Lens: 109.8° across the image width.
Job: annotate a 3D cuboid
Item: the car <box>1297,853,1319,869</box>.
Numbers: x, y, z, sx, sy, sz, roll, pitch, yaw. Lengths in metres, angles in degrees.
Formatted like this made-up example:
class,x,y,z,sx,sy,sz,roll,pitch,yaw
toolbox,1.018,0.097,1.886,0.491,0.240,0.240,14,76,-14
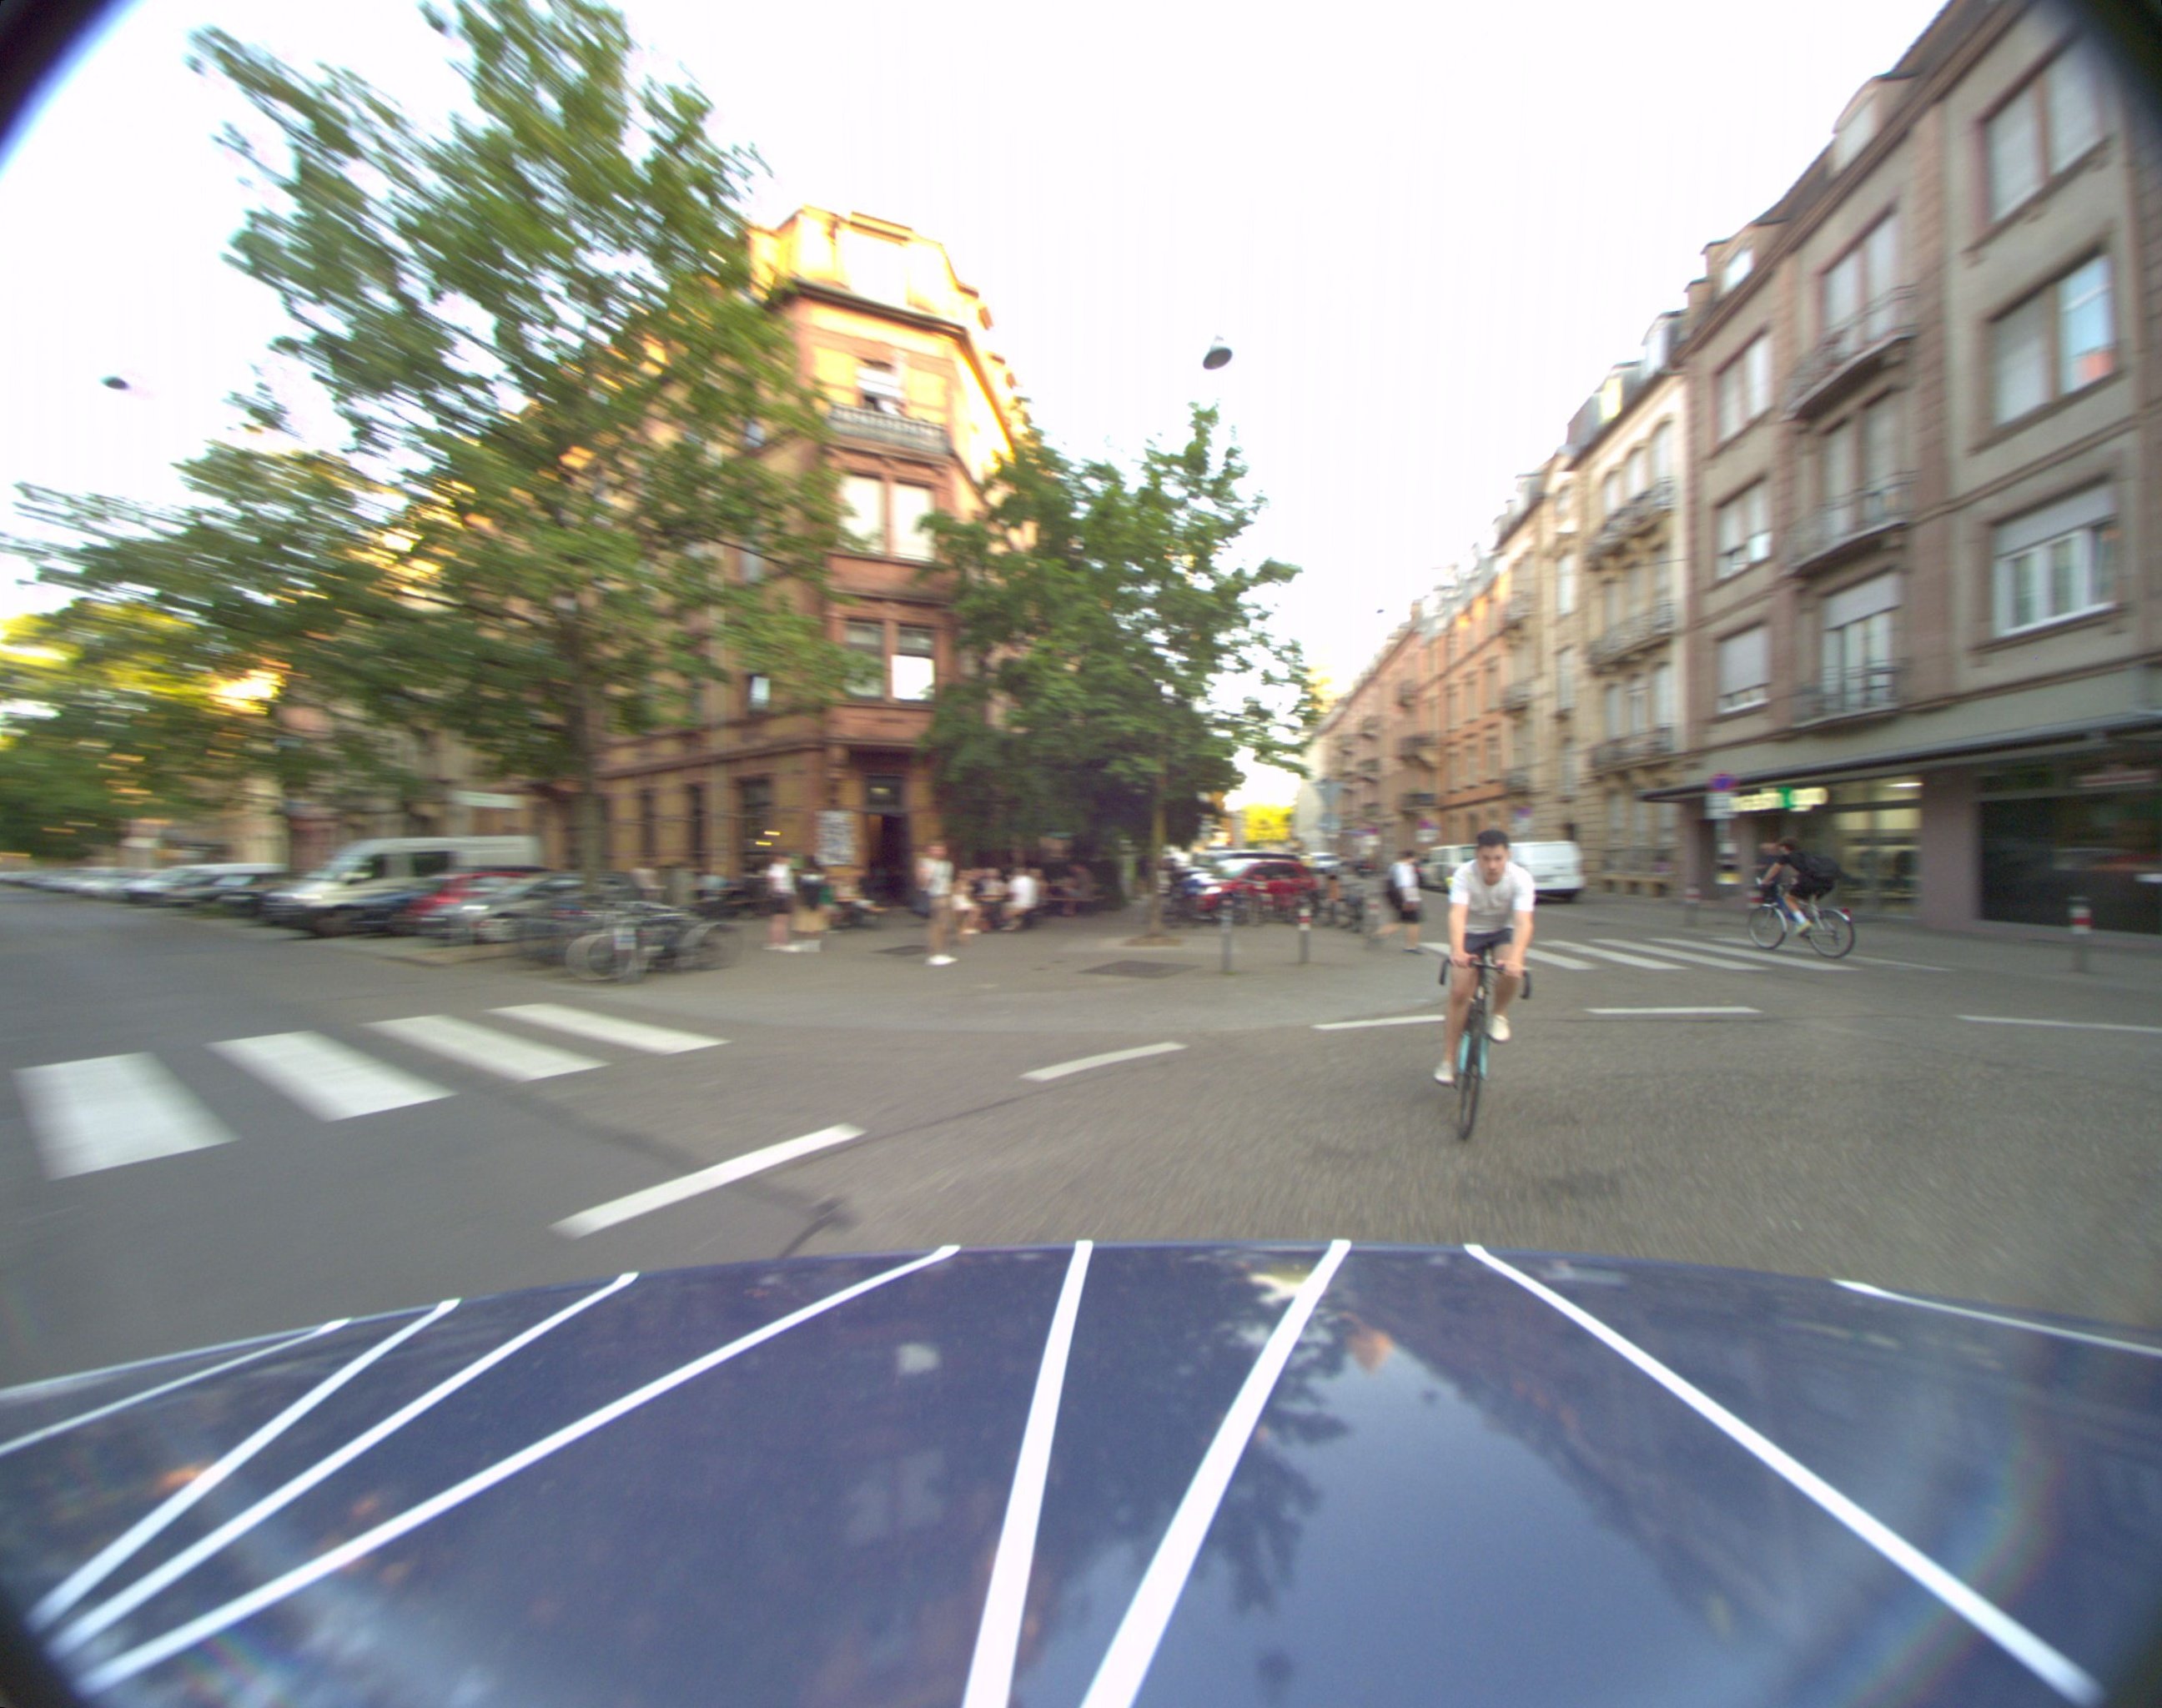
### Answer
class,x,y,z,sx,sy,sz,roll,pitch,yaw
car,22.539,0.659,75.603,1.708,1.521,3.795,-1,0,11

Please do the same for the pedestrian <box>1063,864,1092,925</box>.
class,x,y,z,sx,sy,sz,roll,pitch,yaw
pedestrian,-0.090,0.965,18.323,0.639,1.401,0.514,-2,1,-3

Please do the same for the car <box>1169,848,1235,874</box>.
class,x,y,z,sx,sy,sz,roll,pitch,yaw
car,9.909,0.607,62.352,5.182,1.944,1.901,2,0,8

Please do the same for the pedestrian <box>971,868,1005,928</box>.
class,x,y,z,sx,sy,sz,roll,pitch,yaw
pedestrian,-2.045,0.955,16.733,0.545,1.262,0.574,-2,1,10

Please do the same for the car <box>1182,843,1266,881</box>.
class,x,y,z,sx,sy,sz,roll,pitch,yaw
car,9.167,0.514,48.711,4.942,2.348,1.997,0,0,-17

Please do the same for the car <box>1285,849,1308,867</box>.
class,x,y,z,sx,sy,sz,roll,pitch,yaw
car,24.119,0.431,85.183,1.931,1.871,4.908,-1,0,8

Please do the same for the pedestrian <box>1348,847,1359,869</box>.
class,x,y,z,sx,sy,sz,roll,pitch,yaw
pedestrian,22.226,0.312,61.947,0.683,1.800,0.962,-2,1,11

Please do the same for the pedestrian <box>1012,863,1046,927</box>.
class,x,y,z,sx,sy,sz,roll,pitch,yaw
pedestrian,-1.146,0.909,16.823,0.545,1.372,0.575,-2,1,16

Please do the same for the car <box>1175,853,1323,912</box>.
class,x,y,z,sx,sy,sz,roll,pitch,yaw
car,5.241,0.888,23.660,4.231,1.678,1.929,2,0,-29

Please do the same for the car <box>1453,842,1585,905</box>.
class,x,y,z,sx,sy,sz,roll,pitch,yaw
car,14.653,0.586,25.806,2.113,1.910,5.028,-1,0,8

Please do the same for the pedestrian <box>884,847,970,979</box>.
class,x,y,z,sx,sy,sz,roll,pitch,yaw
pedestrian,-2.266,0.829,11.175,0.838,1.817,0.866,-3,1,-42

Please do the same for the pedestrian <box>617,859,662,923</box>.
class,x,y,z,sx,sy,sz,roll,pitch,yaw
pedestrian,-11.874,0.986,20.430,0.764,1.667,0.748,-1,1,38

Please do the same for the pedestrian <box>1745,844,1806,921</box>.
class,x,y,z,sx,sy,sz,roll,pitch,yaw
pedestrian,15.574,0.625,17.055,0.710,1.668,0.736,-2,0,13

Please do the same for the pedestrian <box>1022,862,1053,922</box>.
class,x,y,z,sx,sy,sz,roll,pitch,yaw
pedestrian,-1.075,0.916,18.628,0.515,1.401,0.618,-3,1,-24

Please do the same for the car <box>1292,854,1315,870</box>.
class,x,y,z,sx,sy,sz,roll,pitch,yaw
car,23.349,0.829,79.858,1.930,1.587,3.973,-1,0,11

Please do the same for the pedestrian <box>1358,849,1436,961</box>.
class,x,y,z,sx,sy,sz,roll,pitch,yaw
pedestrian,5.210,0.823,12.582,0.947,1.760,0.869,-2,1,8

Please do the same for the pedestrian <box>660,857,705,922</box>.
class,x,y,z,sx,sy,sz,roll,pitch,yaw
pedestrian,-10.664,0.941,20.318,0.764,1.667,0.748,-1,1,38

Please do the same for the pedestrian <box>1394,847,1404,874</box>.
class,x,y,z,sx,sy,sz,roll,pitch,yaw
pedestrian,21.296,0.456,50.949,0.464,1.779,0.642,-2,1,13

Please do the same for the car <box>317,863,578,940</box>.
class,x,y,z,sx,sy,sz,roll,pitch,yaw
car,-15.502,1.075,18.856,1.994,1.517,4.553,-2,1,35

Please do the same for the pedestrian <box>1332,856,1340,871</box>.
class,x,y,z,sx,sy,sz,roll,pitch,yaw
pedestrian,21.071,0.802,62.771,0.479,1.244,0.653,-2,1,10

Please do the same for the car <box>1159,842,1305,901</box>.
class,x,y,z,sx,sy,sz,roll,pitch,yaw
car,5.797,0.686,28.911,5.446,2.060,1.929,2,0,-29

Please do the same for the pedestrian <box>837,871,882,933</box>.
class,x,y,z,sx,sy,sz,roll,pitch,yaw
pedestrian,-4.983,1.072,17.120,0.626,1.338,0.741,-2,1,13

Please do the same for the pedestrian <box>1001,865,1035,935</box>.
class,x,y,z,sx,sy,sz,roll,pitch,yaw
pedestrian,-1.276,0.933,15.407,0.545,1.372,0.467,-2,1,7

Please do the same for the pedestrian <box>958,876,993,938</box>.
class,x,y,z,sx,sy,sz,roll,pitch,yaw
pedestrian,-2.229,1.112,16.088,0.545,1.262,0.574,-2,1,10

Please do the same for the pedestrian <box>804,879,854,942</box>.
class,x,y,z,sx,sy,sz,roll,pitch,yaw
pedestrian,-5.138,1.146,15.541,0.626,1.225,0.741,-2,1,13

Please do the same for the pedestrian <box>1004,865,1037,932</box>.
class,x,y,z,sx,sy,sz,roll,pitch,yaw
pedestrian,-1.280,0.928,16.121,0.545,1.372,0.467,-2,1,7

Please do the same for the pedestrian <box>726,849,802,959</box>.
class,x,y,z,sx,sy,sz,roll,pitch,yaw
pedestrian,-5.493,0.835,13.204,0.836,1.817,0.868,-2,1,4

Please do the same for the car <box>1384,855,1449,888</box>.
class,x,y,z,sx,sy,sz,roll,pitch,yaw
car,16.405,0.811,37.377,1.840,1.462,4.175,-1,0,7

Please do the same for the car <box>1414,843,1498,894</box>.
class,x,y,z,sx,sy,sz,roll,pitch,yaw
car,15.550,0.555,31.769,1.840,1.910,4.849,-1,0,10

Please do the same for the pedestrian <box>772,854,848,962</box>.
class,x,y,z,sx,sy,sz,roll,pitch,yaw
pedestrian,-4.577,0.886,12.841,0.870,1.714,0.834,-3,1,-43

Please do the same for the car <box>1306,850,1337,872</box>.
class,x,y,z,sx,sy,sz,roll,pitch,yaw
car,20.705,0.560,65.610,1.774,1.778,4.589,-2,1,8

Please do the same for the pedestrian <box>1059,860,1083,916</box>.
class,x,y,z,sx,sy,sz,roll,pitch,yaw
pedestrian,-0.256,0.859,19.403,0.554,1.401,0.514,-2,1,-3

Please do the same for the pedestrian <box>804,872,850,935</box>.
class,x,y,z,sx,sy,sz,roll,pitch,yaw
pedestrian,-5.705,1.100,17.089,0.626,1.338,0.741,-2,1,13

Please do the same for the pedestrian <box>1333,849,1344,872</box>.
class,x,y,z,sx,sy,sz,roll,pitch,yaw
pedestrian,20.979,0.507,61.915,0.599,1.803,0.720,-2,1,1

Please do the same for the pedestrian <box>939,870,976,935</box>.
class,x,y,z,sx,sy,sz,roll,pitch,yaw
pedestrian,-2.507,0.981,15.458,0.545,1.262,0.574,-2,1,10

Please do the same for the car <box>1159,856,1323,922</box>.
class,x,y,z,sx,sy,sz,roll,pitch,yaw
car,4.294,0.917,20.433,4.054,1.618,1.690,1,-1,-22

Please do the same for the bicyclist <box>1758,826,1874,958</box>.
class,x,y,z,sx,sy,sz,roll,pitch,yaw
bicyclist,10.920,0.545,11.323,0.840,1.865,0.878,-2,1,3

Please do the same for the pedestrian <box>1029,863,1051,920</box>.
class,x,y,z,sx,sy,sz,roll,pitch,yaw
pedestrian,-1.044,0.932,19.364,0.514,1.401,0.619,-2,1,-3

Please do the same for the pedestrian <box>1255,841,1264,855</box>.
class,x,y,z,sx,sy,sz,roll,pitch,yaw
pedestrian,36.445,-1.248,155.146,1.444,2.725,1.012,-2,1,8

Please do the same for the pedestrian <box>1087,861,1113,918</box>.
class,x,y,z,sx,sy,sz,roll,pitch,yaw
pedestrian,0.475,0.899,19.313,0.554,1.401,0.514,-2,1,-3

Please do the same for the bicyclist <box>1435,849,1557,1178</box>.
class,x,y,z,sx,sy,sz,roll,pitch,yaw
bicyclist,2.399,0.834,4.400,0.527,1.694,0.791,-2,1,29
